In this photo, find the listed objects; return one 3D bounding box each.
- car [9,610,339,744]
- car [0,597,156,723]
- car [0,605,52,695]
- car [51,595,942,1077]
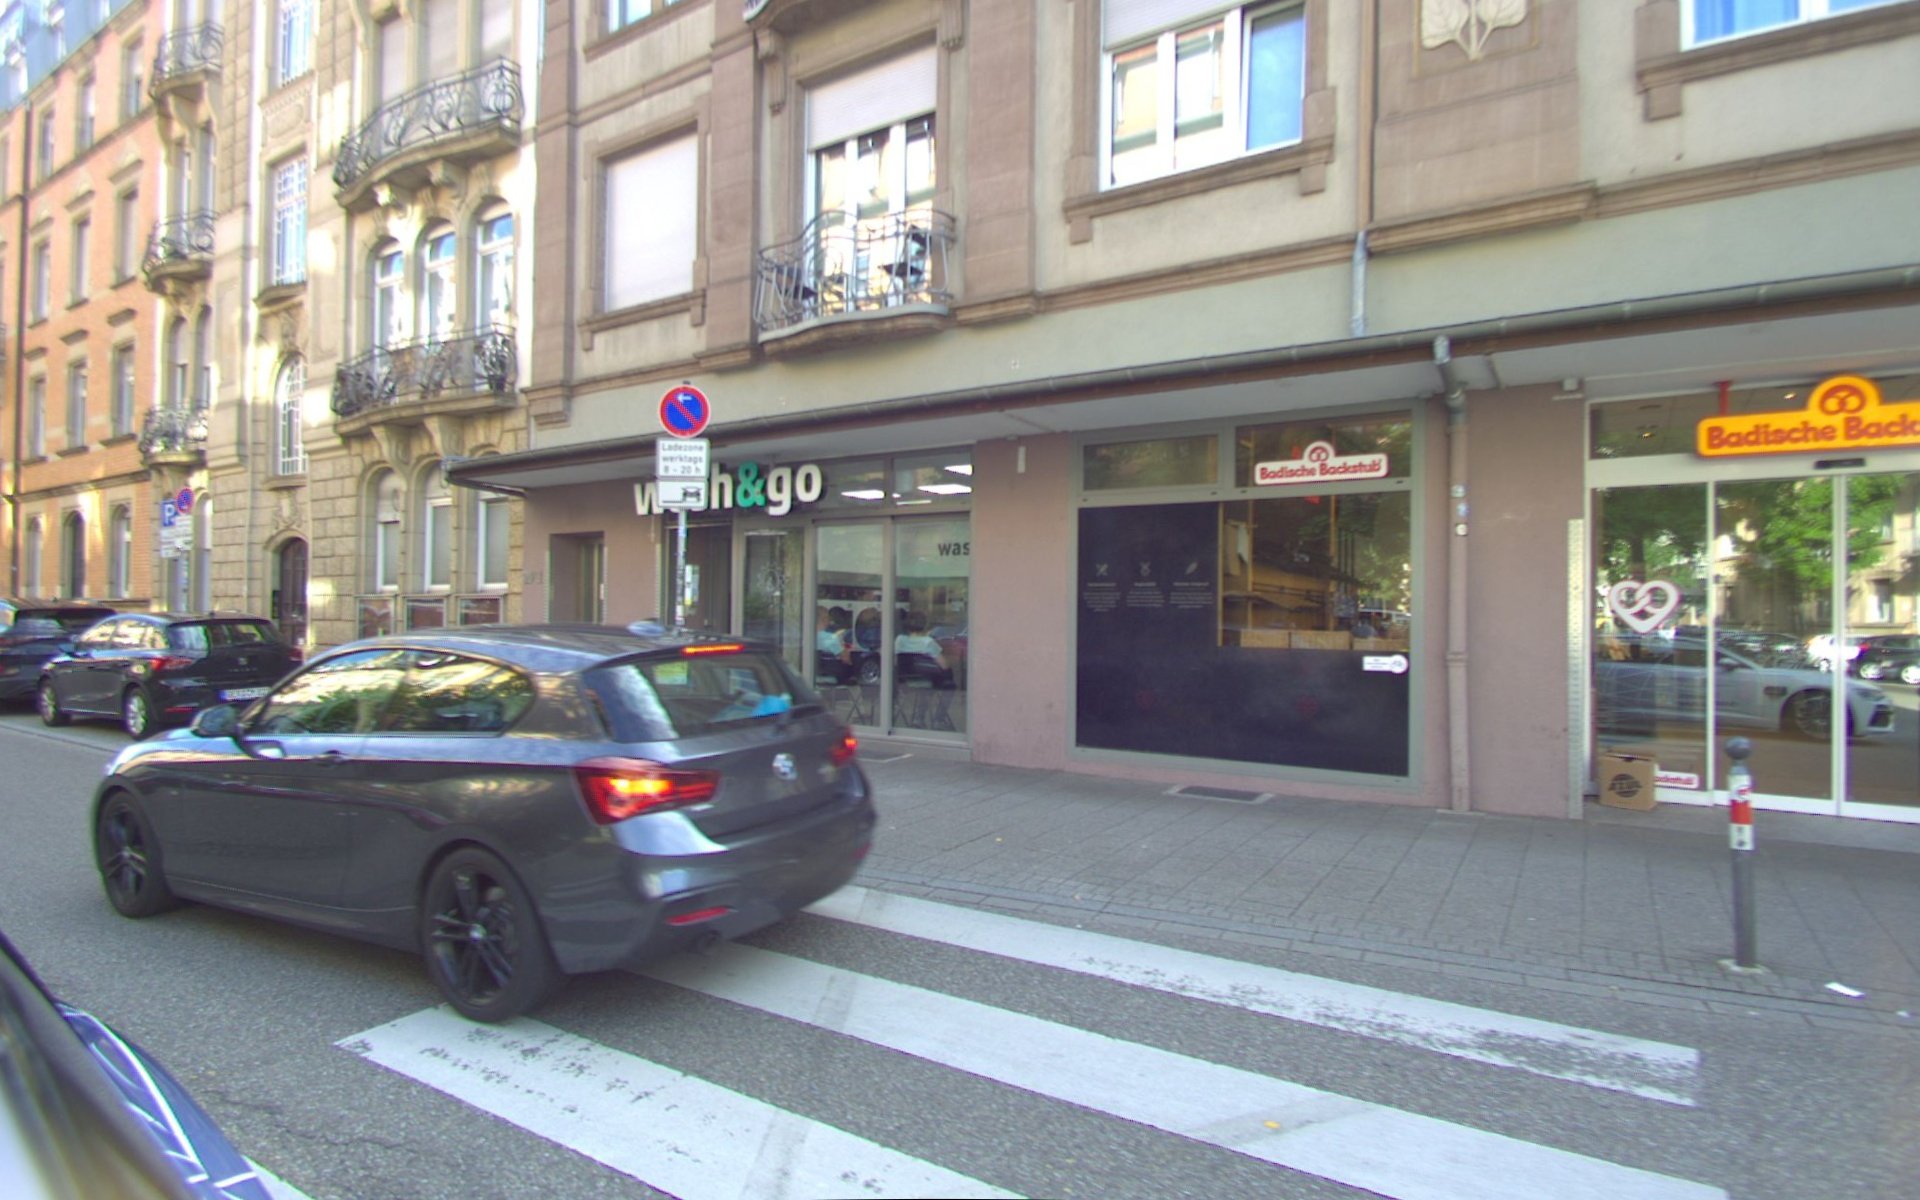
[{"bbox_3d":[-9.951,0.855,12.758,4.231,1.431,1.978,0,-2,33],"label":"car"},{"bbox_3d":[-14.143,0.798,15.226,4.833,1.641,1.776,0,-1,33],"label":"car"},{"bbox_3d":[-18.590,0.852,18.399,4.413,1.556,1.978,0,-1,33],"label":"car"},{"bbox_3d":[-2.331,0.720,4.870,4.192,1.447,1.739,1,0,28],"label":"car"}]
